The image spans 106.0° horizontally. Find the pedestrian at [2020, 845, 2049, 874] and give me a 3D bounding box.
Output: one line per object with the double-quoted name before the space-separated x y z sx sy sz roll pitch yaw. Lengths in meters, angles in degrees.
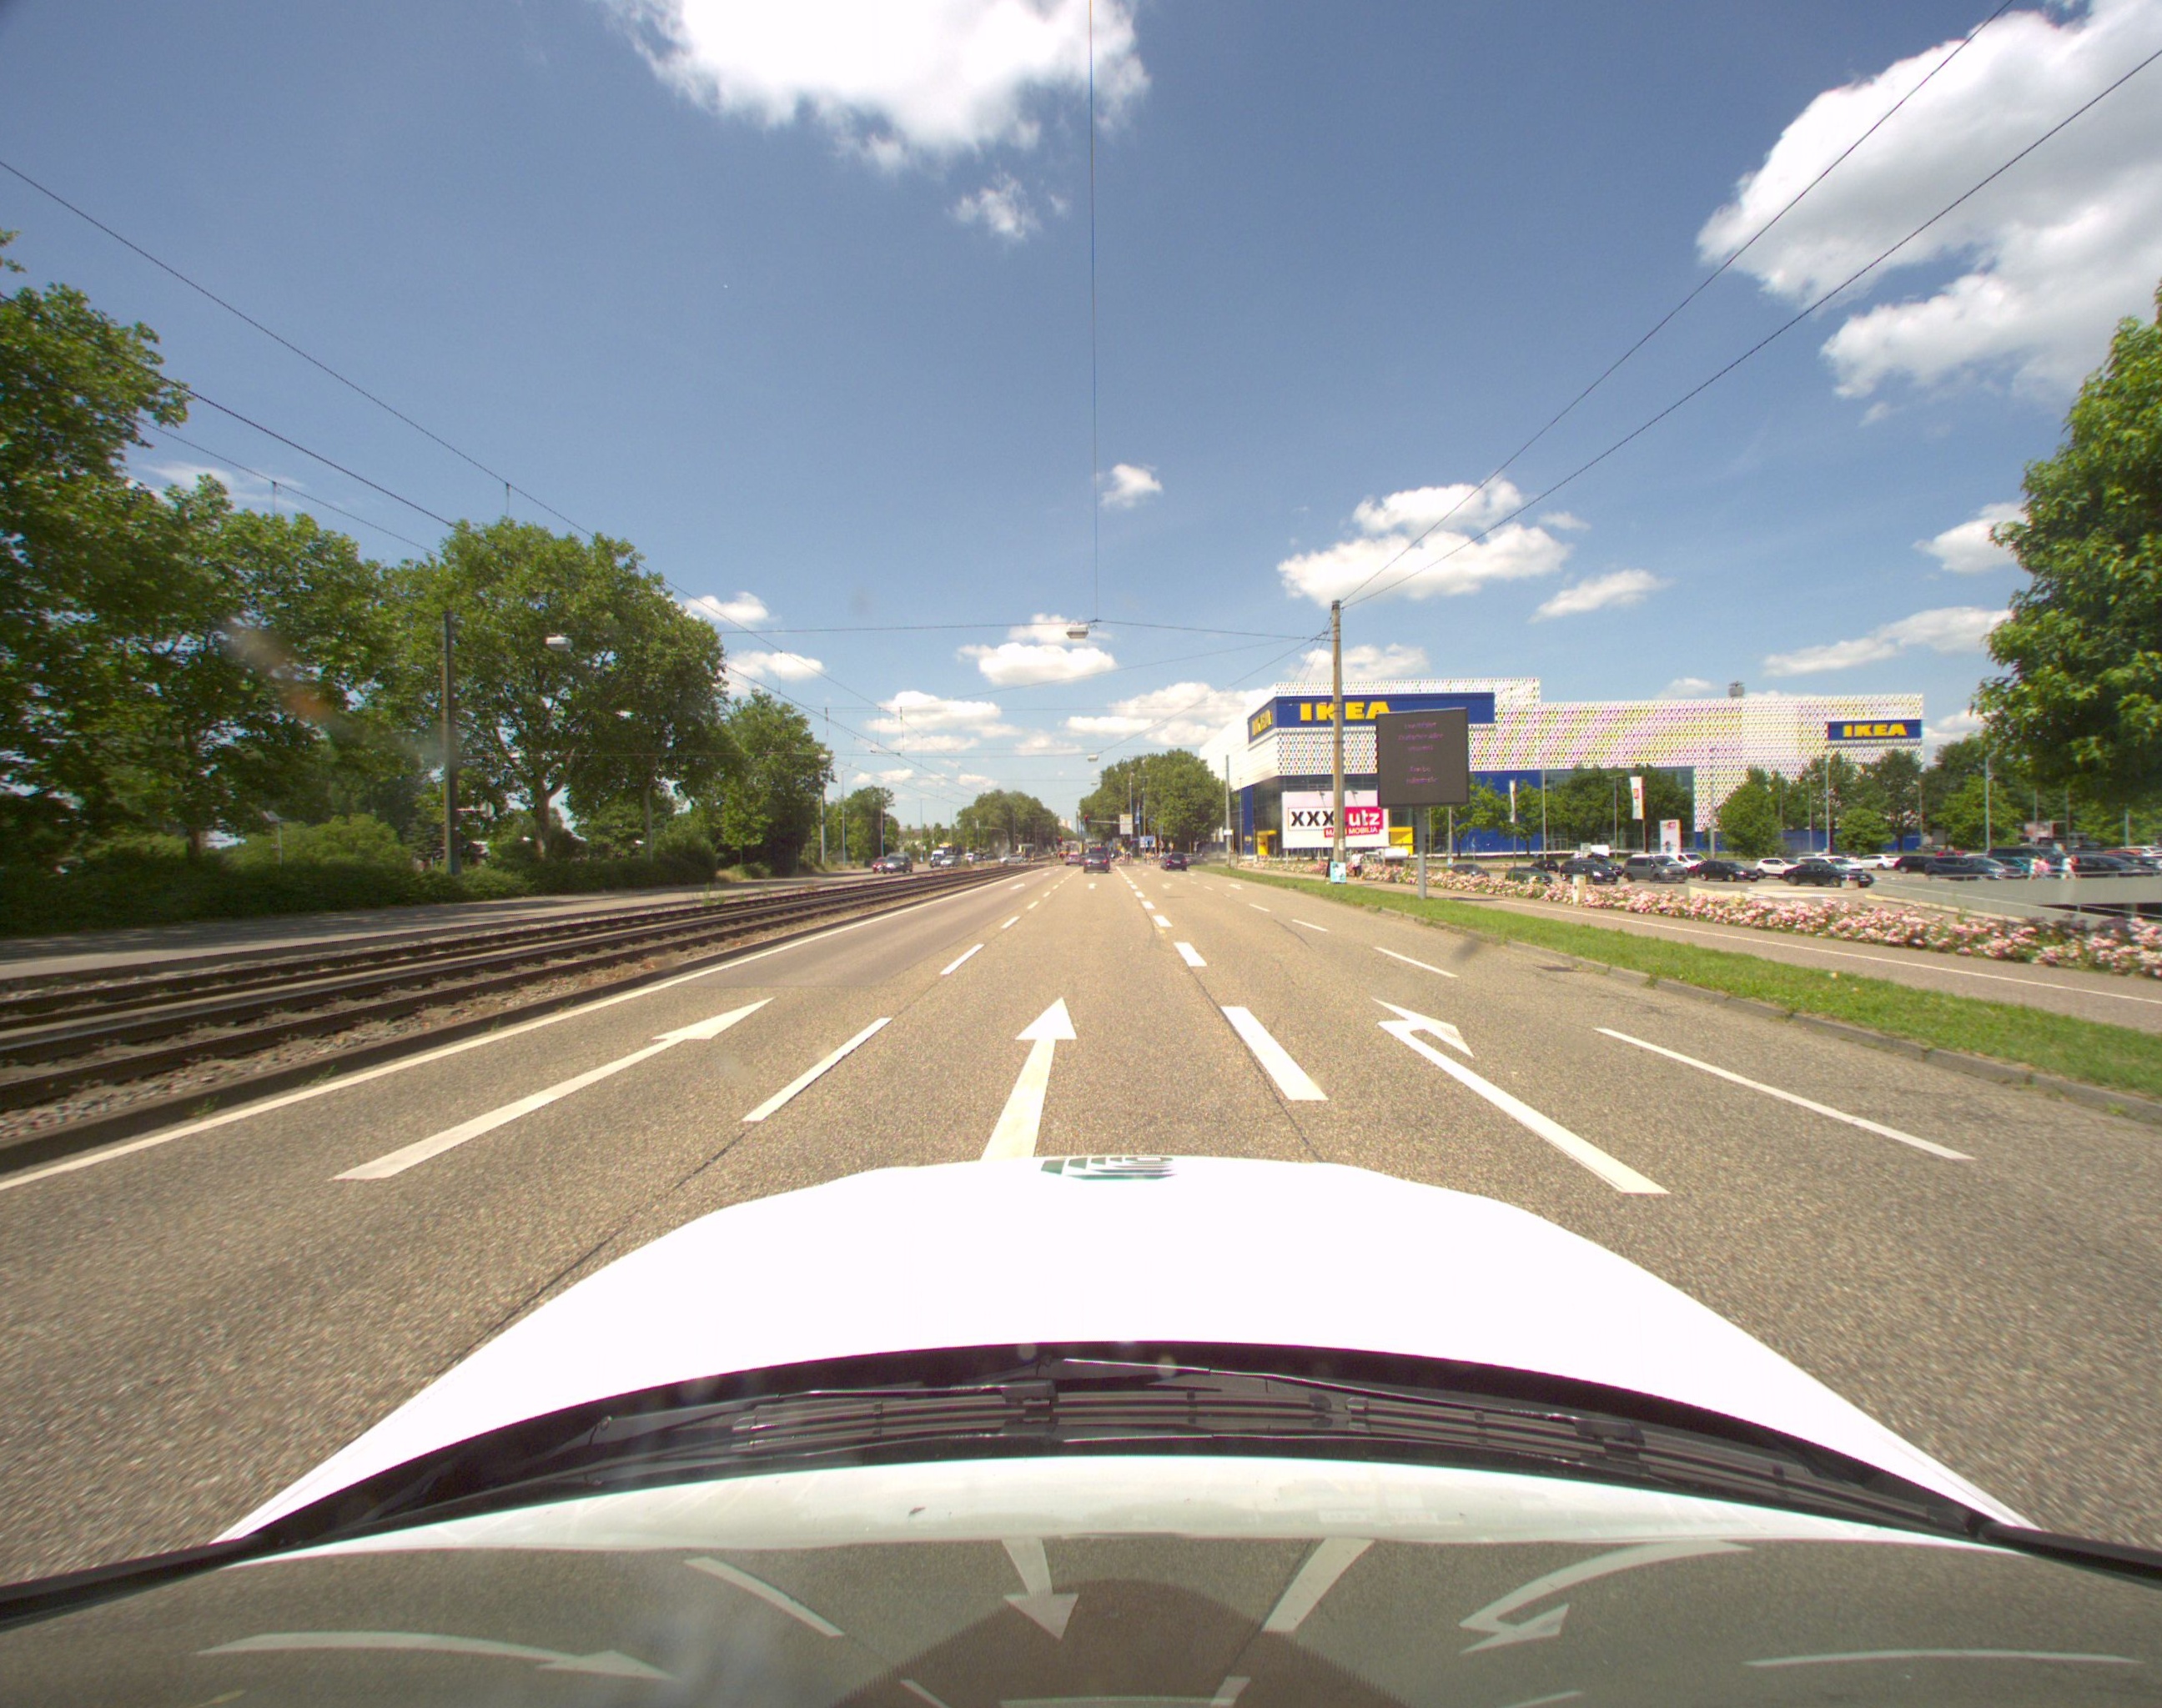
"pedestrian" 51.935 0.290 44.382 0.738 1.557 0.735 0 0 -1

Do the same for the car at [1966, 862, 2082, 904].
"car" 56.223 1.683 48.693 1.986 2.327 4.334 1 0 1

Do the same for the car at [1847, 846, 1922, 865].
"car" 72.965 0.126 74.032 1.986 1.610 5.002 0 0 1

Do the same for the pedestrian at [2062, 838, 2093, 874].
"pedestrian" 52.912 0.102 43.250 0.738 1.869 0.735 0 0 -1

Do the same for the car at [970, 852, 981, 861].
"car" -22.747 0.600 175.787 1.811 1.883 4.001 0 0 1

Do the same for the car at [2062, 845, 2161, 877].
"car" 61.752 0.414 48.273 1.986 1.781 4.334 1 0 1

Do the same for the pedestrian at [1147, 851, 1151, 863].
"pedestrian" 8.796 0.375 105.757 0.551 1.635 0.433 0 0 4

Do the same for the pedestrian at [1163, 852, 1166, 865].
"pedestrian" 10.807 0.546 105.750 0.319 1.635 0.377 0 0 4

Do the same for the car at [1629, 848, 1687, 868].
"car" 53.305 0.356 75.373 1.986 1.852 5.002 0 0 1

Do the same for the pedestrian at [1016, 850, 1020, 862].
"pedestrian" -11.176 0.333 143.774 0.683 2.014 0.572 0 0 -3

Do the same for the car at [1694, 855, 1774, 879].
"car" 47.625 0.907 59.525 1.986 1.610 5.002 0 0 1

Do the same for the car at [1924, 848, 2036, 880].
"car" 53.552 0.578 48.655 1.986 1.781 4.334 1 0 1

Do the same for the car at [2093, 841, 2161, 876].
"car" 64.384 0.262 49.021 1.986 2.013 4.001 0 0 1

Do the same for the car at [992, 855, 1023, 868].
"car" -10.763 1.111 119.457 4.006 1.849 1.984 1 0 -25

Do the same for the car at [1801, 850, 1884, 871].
"car" 60.094 0.491 64.372 1.986 1.610 5.002 0 0 1

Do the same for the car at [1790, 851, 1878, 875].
"car" 55.228 0.643 59.855 1.986 1.650 5.002 0 0 1

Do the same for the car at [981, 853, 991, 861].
"car" -22.123 0.601 188.963 1.811 1.883 4.001 0 0 1

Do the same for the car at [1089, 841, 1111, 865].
"car" 1.668 -0.125 70.284 1.830 1.949 4.001 0 2 1

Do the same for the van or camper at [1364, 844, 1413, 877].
"van or camper" 29.165 0.581 77.490 2.495 3.020 7.233 0 0 5

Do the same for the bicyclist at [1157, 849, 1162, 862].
"bicyclist" 11.385 0.207 117.718 0.525 1.764 0.830 0 0 15

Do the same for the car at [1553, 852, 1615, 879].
"car" 40.422 0.905 65.626 1.986 2.013 5.002 -2 0 1

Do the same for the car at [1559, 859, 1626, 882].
"car" 37.726 1.170 60.223 1.986 1.550 5.002 0 0 1

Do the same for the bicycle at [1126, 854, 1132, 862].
"bicycle" 6.231 0.474 106.397 0.685 0.993 2.752 0 0 2

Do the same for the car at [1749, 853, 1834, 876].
"car" 52.452 0.727 60.265 1.986 1.610 5.002 0 0 1

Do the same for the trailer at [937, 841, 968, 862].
"trailer" -23.158 -0.444 147.951 2.757 3.518 15.881 0 0 1

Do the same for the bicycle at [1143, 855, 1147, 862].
"bicycle" 8.491 0.556 107.704 0.547 0.877 1.699 0 0 4

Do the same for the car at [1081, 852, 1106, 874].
"car" 0.965 0.643 60.489 1.786 1.455 4.001 -2 0 1

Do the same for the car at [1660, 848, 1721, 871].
"car" 55.841 0.449 74.688 1.986 2.007 5.002 0 0 1

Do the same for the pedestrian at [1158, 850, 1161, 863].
"pedestrian" 10.422 0.312 107.853 0.337 1.635 0.377 0 0 4

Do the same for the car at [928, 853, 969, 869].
"car" -17.604 0.949 108.354 1.975 1.830 4.998 4 1 43

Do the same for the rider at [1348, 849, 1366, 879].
"rider" 13.547 0.487 39.973 0.667 1.457 0.618 0 0 1

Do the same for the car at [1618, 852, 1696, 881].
"car" 42.517 0.863 60.262 1.986 2.013 5.536 0 0 1

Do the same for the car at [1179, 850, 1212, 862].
"car" 14.635 0.213 103.962 4.415 1.486 1.976 1 1 -44

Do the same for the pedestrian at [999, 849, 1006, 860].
"pedestrian" -12.787 0.038 132.981 0.816 1.720 0.779 0 0 23

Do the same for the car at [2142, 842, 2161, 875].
"car" 66.985 0.291 48.664 1.986 2.013 4.001 0 0 1

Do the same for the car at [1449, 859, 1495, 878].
"car" 36.003 1.318 75.149 1.986 1.537 4.771 -2 0 1

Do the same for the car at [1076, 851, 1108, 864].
"car" 1.669 0.587 124.350 4.410 1.918 1.987 1 0 -19

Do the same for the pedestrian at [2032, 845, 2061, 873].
"pedestrian" 52.987 0.268 44.713 0.738 1.557 0.735 0 0 -1

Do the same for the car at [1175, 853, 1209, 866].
"car" 12.745 0.602 93.477 1.974 1.486 4.171 1 1 39

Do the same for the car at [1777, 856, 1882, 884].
"car" 45.775 0.932 49.973 1.986 1.610 5.002 0 0 1

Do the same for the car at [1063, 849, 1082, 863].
"car" -0.915 0.179 93.615 1.986 1.486 4.001 1 0 1

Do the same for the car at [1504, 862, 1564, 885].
"car" 33.144 1.390 59.744 1.986 1.496 4.304 -3 0 1

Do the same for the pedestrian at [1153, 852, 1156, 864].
"pedestrian" 9.555 0.533 105.912 0.443 1.635 0.430 0 0 4

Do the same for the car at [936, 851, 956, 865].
"car" -16.503 0.512 99.499 1.680 1.583 4.058 -3 0 0

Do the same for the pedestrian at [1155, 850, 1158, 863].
"pedestrian" 9.956 0.330 108.014 0.380 1.635 0.377 0 0 4

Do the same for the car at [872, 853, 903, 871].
"car" -19.155 0.792 80.743 1.987 1.670 4.467 -3 0 0

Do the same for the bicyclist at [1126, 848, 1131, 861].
"bicyclist" 6.174 0.059 106.040 0.527 1.789 1.088 0 0 2

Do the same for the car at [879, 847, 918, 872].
"car" -14.790 0.399 66.337 1.987 1.830 4.968 -3 0 0

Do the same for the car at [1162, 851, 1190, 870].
"car" 7.931 0.492 68.445 1.986 1.486 4.001 1 0 1

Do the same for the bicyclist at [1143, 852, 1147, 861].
"bicyclist" 8.445 0.288 107.783 0.468 1.193 0.792 0 0 4

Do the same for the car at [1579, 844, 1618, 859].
"car" 79.951 -0.339 125.818 4.731 2.309 2.005 0 0 9

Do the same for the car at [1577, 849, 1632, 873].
"car" 48.372 0.620 75.366 1.986 2.134 5.002 0 0 1

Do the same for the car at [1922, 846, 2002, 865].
"car" 80.339 0.121 74.347 1.986 1.610 5.002 0 0 1
